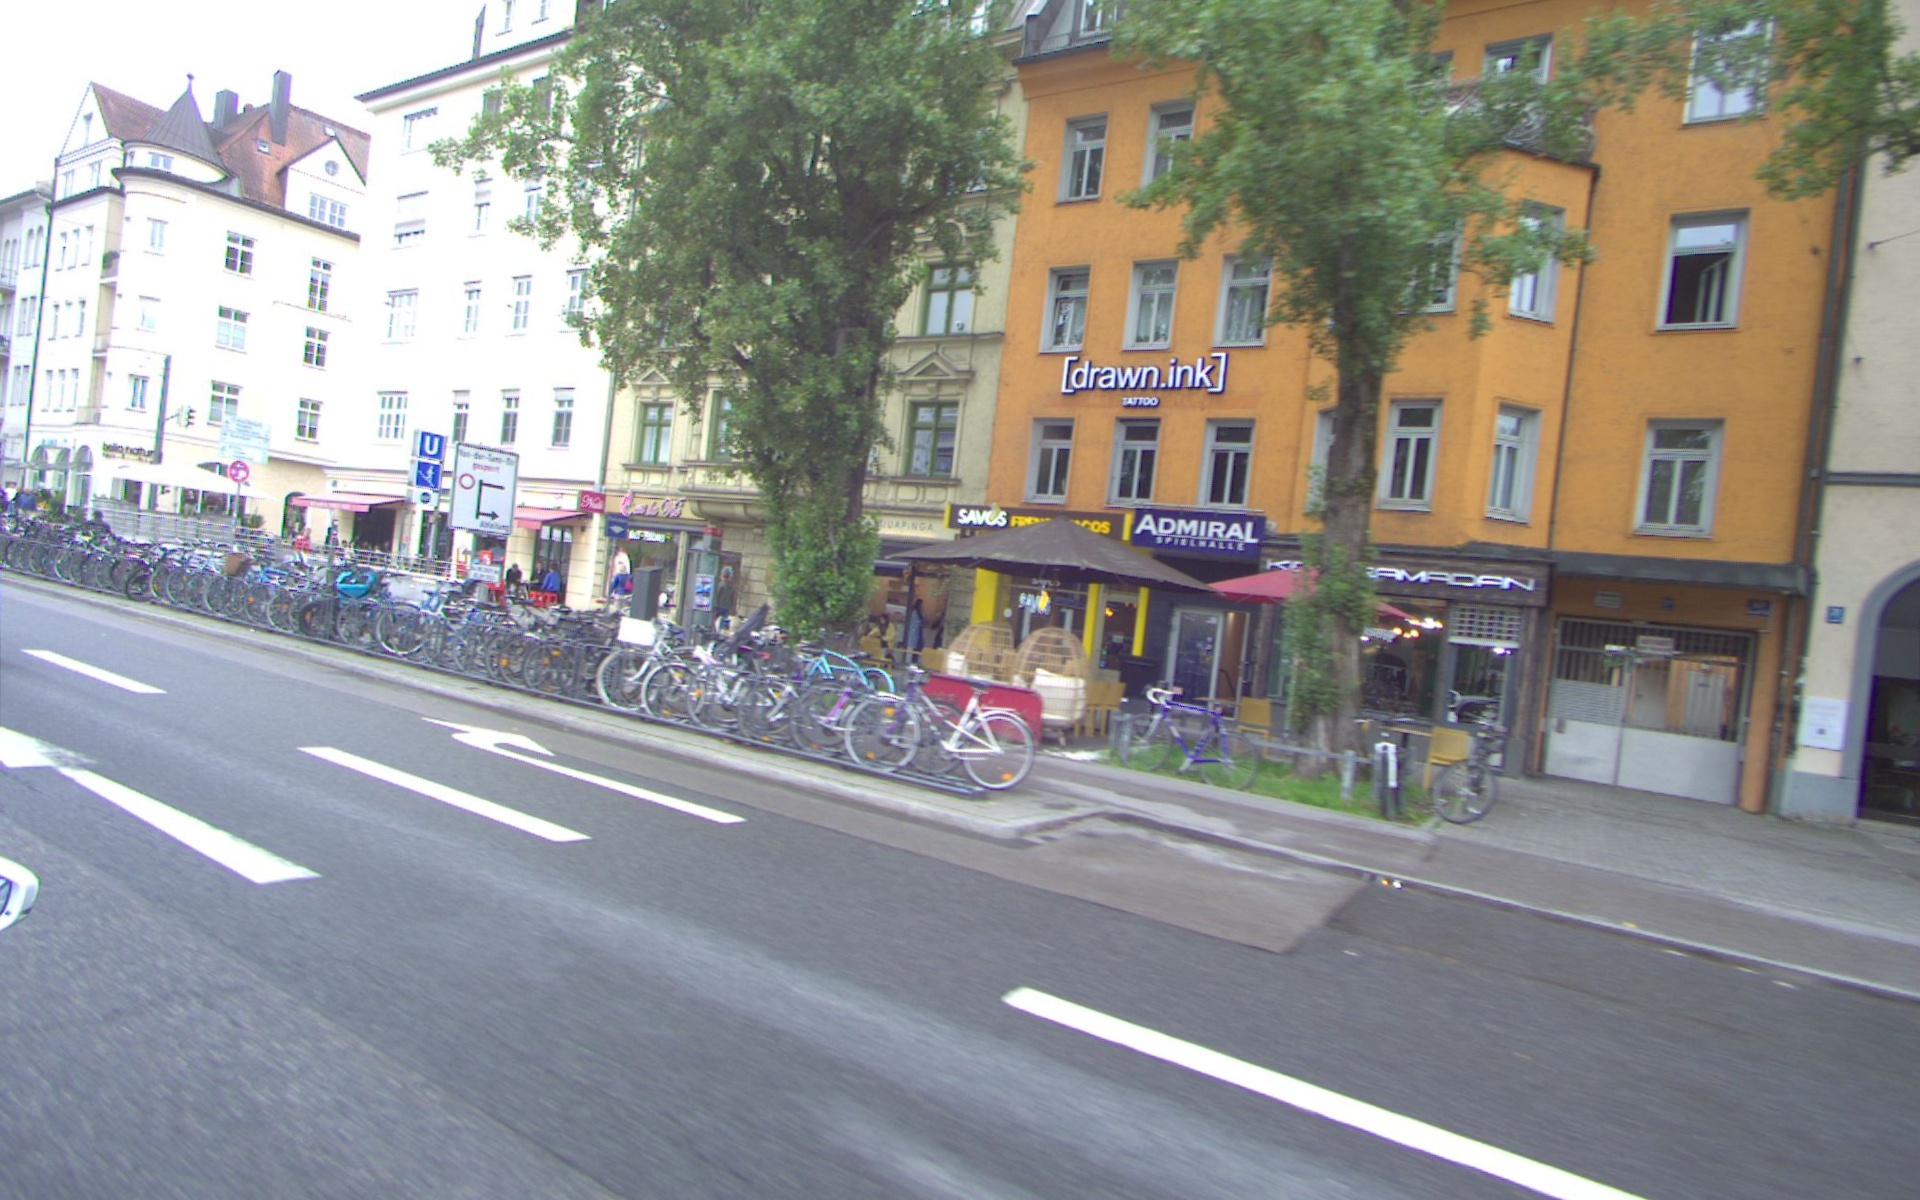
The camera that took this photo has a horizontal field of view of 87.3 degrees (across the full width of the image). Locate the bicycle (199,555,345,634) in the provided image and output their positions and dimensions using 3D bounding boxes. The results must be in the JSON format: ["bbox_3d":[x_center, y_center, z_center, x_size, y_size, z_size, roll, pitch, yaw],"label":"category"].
[{"bbox_3d":[-11.052,-0.085,16.201,1.818,1.008,0.323,8,1,-22],"label":"bicycle"}]

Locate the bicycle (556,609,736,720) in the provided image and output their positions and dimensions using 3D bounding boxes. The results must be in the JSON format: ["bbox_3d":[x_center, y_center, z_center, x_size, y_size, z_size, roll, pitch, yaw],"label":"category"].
[{"bbox_3d":[-3.539,0.734,11.442,1.814,1.008,0.374,8,1,-14],"label":"bicycle"}]

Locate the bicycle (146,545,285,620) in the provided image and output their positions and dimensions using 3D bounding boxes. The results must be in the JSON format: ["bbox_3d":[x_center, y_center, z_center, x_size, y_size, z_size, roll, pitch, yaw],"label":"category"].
[{"bbox_3d":[-12.792,-0.296,17.330,1.816,1.008,0.324,8,1,-18],"label":"bicycle"}]

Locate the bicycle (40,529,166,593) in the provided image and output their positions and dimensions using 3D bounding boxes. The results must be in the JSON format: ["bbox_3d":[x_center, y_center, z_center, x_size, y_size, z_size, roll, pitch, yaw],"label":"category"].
[{"bbox_3d":[-16.478,-0.740,19.370,1.813,1.008,0.347,6,1,-15],"label":"bicycle"}]

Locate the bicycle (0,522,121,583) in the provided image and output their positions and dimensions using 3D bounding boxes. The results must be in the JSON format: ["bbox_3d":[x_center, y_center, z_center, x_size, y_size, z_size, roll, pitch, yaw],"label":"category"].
[{"bbox_3d":[-18.262,-0.952,20.442,1.815,1.008,0.346,6,1,-19],"label":"bicycle"}]

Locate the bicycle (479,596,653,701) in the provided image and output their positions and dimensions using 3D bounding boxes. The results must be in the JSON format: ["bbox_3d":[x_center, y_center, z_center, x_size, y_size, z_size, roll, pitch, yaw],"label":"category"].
[{"bbox_3d":[-4.711,0.593,12.101,1.817,1.008,0.373,8,1,-21],"label":"bicycle"}]

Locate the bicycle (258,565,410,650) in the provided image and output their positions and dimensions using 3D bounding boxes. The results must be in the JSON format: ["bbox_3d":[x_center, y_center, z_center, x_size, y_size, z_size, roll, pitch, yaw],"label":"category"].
[{"bbox_3d":[-9.349,0.112,15.080,1.814,1.008,0.324,8,1,-16],"label":"bicycle"}]

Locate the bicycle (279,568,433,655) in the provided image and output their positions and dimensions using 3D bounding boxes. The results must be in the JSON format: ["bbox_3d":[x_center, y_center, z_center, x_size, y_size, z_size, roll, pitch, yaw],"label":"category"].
[{"bbox_3d":[-8.827,0.172,14.755,1.814,1.008,0.324,8,1,-16],"label":"bicycle"}]

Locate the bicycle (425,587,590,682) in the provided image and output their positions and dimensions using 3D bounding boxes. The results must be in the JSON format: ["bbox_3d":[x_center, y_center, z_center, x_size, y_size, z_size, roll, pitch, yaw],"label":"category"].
[{"bbox_3d":[-5.845,0.466,13.069,1.825,1.008,0.372,9,0,-34],"label":"bicycle"}]

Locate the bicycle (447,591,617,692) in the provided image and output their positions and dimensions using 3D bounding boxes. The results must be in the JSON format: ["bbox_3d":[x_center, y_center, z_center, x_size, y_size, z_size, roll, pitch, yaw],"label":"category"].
[{"bbox_3d":[-5.300,0.527,12.541,1.817,1.008,0.373,8,1,-21],"label":"bicycle"}]

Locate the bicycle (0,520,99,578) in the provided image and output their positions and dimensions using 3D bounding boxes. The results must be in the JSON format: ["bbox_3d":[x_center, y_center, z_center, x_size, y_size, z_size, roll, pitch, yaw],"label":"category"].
[{"bbox_3d":[-19.352,-1.078,21.170,1.815,1.008,0.346,6,1,-19],"label":"bicycle"}]

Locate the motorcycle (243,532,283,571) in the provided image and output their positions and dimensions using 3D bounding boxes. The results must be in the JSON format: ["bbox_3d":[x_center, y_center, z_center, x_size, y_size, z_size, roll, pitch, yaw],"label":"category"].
[{"bbox_3d":[-23.877,-1.676,34.453,1.545,1.171,0.487,7,1,33],"label":"motorcycle"}]

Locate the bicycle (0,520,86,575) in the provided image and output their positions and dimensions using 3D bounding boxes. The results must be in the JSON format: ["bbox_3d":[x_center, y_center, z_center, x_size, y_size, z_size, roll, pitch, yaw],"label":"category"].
[{"bbox_3d":[-19.923,-1.145,21.525,1.813,1.008,0.347,6,1,-15],"label":"bicycle"}]

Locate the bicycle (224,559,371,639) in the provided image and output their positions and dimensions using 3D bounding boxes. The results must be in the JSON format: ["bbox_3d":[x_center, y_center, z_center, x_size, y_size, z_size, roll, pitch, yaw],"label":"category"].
[{"bbox_3d":[-10.393,-0.006,15.837,1.818,1.008,0.323,8,1,-22],"label":"bicycle"}]

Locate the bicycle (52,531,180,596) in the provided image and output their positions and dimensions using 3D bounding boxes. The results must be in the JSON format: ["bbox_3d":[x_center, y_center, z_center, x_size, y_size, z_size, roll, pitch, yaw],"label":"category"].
[{"bbox_3d":[-15.899,-0.673,18.971,1.813,1.008,0.347,6,1,-15],"label":"bicycle"}]

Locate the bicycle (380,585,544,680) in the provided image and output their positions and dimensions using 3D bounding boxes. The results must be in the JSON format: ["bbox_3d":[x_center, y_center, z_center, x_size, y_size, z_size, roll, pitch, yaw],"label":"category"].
[{"bbox_3d":[-6.541,0.441,13.287,1.817,1.008,0.323,8,1,-21],"label":"bicycle"}]

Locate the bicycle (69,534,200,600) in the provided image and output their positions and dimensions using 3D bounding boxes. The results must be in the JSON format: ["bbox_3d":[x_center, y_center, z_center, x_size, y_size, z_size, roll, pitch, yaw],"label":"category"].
[{"bbox_3d":[-15.293,-0.599,18.670,1.815,1.008,0.346,6,1,-19],"label":"bicycle"}]

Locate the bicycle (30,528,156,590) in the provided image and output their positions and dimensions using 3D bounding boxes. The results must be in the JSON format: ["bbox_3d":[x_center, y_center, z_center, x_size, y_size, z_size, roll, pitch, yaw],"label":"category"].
[{"bbox_3d":[-17.001,-0.799,19.761,1.815,1.008,0.346,6,1,-19],"label":"bicycle"}]

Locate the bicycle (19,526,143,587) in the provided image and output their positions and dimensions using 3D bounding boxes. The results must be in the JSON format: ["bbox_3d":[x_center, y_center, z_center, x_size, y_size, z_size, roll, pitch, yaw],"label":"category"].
[{"bbox_3d":[-17.544,-0.863,20.102,1.815,1.008,0.346,6,1,-19],"label":"bicycle"}]

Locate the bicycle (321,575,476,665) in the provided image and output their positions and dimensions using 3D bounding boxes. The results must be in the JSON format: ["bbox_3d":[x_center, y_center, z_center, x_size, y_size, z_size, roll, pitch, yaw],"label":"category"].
[{"bbox_3d":[-7.937,0.280,14.264,1.812,1.008,0.324,8,1,-11],"label":"bicycle"}]

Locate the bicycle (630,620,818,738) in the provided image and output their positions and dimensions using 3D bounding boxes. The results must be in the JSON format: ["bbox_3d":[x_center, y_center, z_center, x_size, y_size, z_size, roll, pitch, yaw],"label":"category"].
[{"bbox_3d":[-2.508,0.852,10.756,1.815,1.008,0.374,8,1,-17],"label":"bicycle"}]

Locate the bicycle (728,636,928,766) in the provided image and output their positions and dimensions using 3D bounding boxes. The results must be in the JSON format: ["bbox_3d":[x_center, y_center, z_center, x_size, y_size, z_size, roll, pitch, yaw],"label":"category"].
[{"bbox_3d":[-1.292,0.995,9.960,1.811,1.008,0.375,8,1,-8],"label":"bicycle"}]

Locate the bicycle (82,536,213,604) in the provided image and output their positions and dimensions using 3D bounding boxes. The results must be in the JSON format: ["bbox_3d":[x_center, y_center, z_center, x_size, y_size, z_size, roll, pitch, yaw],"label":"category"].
[{"bbox_3d":[-14.755,-0.537,18.301,1.812,1.008,0.347,6,1,-14],"label":"bicycle"}]

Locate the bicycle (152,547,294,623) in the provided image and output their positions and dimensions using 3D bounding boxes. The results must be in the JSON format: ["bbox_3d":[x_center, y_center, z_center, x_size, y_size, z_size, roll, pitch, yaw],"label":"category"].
[{"bbox_3d":[-12.374,-0.253,16.932,1.816,1.008,0.324,8,1,-18],"label":"bicycle"}]

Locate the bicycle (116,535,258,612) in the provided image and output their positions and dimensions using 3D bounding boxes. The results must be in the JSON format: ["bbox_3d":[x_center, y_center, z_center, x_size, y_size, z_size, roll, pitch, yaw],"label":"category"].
[{"bbox_3d":[-13.482,-0.455,17.600,1.819,1.127,0.464,7,1,-26],"label":"bicycle"}]

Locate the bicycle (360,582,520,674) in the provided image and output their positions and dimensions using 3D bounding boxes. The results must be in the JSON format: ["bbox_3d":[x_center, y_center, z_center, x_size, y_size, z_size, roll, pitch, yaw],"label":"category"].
[{"bbox_3d":[-7.028,0.386,13.673,1.820,1.008,0.323,8,0,-26],"label":"bicycle"}]

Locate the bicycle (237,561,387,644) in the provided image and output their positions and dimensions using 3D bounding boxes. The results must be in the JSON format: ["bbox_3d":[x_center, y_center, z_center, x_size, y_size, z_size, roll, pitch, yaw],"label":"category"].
[{"bbox_3d":[-9.927,0.045,15.468,1.818,1.008,0.323,8,1,-22],"label":"bicycle"}]

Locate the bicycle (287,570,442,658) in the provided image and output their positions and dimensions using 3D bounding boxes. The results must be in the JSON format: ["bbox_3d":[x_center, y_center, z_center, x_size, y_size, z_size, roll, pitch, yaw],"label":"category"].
[{"bbox_3d":[-8.518,0.203,14.430,1.812,1.008,0.324,8,1,-12],"label":"bicycle"}]

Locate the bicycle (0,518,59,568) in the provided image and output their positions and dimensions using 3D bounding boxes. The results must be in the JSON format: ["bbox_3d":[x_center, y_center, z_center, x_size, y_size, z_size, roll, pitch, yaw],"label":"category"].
[{"bbox_3d":[-21.484,-1.323,22.632,1.812,1.008,0.347,6,1,-12],"label":"bicycle"}]

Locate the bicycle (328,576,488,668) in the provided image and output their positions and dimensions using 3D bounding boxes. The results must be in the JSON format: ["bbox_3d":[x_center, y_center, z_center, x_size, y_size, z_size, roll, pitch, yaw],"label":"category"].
[{"bbox_3d":[-7.618,0.313,13.931,1.814,1.008,0.324,8,1,-16],"label":"bicycle"}]

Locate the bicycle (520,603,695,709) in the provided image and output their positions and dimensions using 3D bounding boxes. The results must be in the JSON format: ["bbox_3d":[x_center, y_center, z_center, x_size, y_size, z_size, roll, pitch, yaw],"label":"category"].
[{"bbox_3d":[-4.128,0.667,11.862,1.817,1.008,0.373,8,1,-21],"label":"bicycle"}]

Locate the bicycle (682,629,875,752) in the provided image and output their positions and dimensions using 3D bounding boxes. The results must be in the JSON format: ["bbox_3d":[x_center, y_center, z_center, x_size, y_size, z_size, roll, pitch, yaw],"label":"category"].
[{"bbox_3d":[-1.854,0.930,10.344,1.813,1.008,0.374,8,1,-14],"label":"bicycle"}]

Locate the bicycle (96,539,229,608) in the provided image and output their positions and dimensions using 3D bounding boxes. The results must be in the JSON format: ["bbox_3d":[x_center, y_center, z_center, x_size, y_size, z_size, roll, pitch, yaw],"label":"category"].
[{"bbox_3d":[-14.137,-0.467,17.859,1.813,1.008,0.324,6,1,-14],"label":"bicycle"}]

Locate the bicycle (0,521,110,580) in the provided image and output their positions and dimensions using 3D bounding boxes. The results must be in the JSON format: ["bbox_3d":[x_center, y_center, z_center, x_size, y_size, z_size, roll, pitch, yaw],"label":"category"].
[{"bbox_3d":[-18.812,-1.016,20.804,1.815,1.008,0.346,6,1,-19],"label":"bicycle"}]

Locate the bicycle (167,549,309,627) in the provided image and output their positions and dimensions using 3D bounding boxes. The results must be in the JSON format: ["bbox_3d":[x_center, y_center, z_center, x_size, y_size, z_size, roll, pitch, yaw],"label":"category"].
[{"bbox_3d":[-11.834,-0.192,16.515,1.813,1.008,0.324,8,1,-14],"label":"bicycle"}]

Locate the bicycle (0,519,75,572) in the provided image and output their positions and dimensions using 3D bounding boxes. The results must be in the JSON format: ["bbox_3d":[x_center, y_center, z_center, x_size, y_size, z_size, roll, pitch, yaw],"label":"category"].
[{"bbox_3d":[-20.474,-1.209,21.873,1.813,1.008,0.347,6,1,-15],"label":"bicycle"}]

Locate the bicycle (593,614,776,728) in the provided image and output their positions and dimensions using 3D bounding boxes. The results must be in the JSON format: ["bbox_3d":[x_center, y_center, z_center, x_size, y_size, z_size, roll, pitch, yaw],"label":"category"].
[{"bbox_3d":[-3.026,0.794,11.112,1.817,1.008,0.373,8,1,-20],"label":"bicycle"}]
